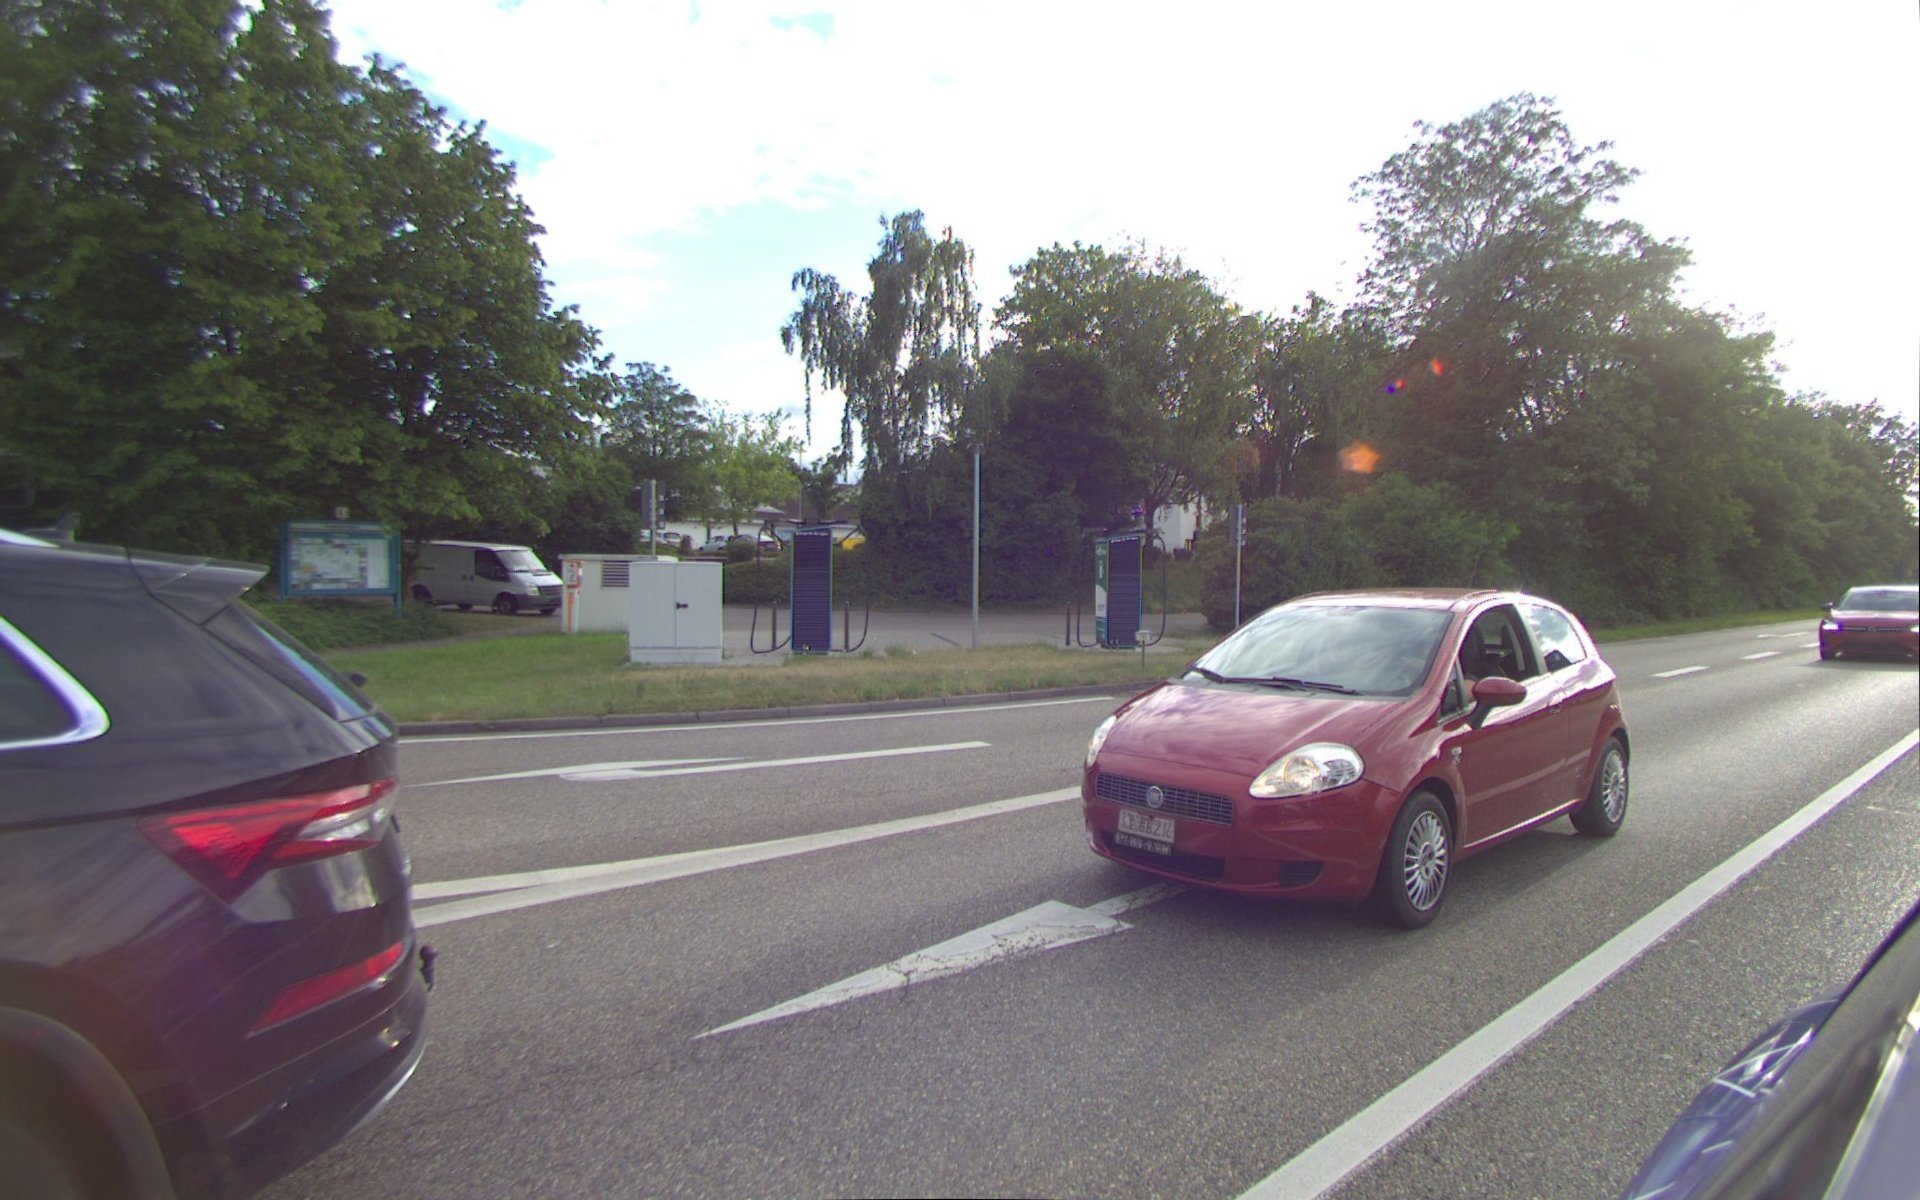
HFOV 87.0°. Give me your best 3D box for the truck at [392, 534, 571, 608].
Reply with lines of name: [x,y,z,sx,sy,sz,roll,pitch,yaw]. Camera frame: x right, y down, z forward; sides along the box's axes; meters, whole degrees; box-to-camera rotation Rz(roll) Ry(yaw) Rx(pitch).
truck: [-13.752,-0.822,29.150,4.602,2.022,1.816,0,1,15]

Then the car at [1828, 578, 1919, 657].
car: [18.654,0.286,20.061,3.931,1.433,1.699,-1,1,-41]

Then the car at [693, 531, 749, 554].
car: [-16.299,-3.870,68.871,1.968,1.382,3.989,-2,1,-44]

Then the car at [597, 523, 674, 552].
car: [-19.049,-3.666,59.541,3.923,1.582,2.001,-1,1,-1]

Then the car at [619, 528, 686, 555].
car: [-19.829,-3.749,65.337,3.966,1.582,1.979,-1,1,30]

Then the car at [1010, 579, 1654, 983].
car: [2.255,0.613,5.563,3.925,1.450,1.665,-1,1,-41]

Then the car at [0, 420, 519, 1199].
car: [-3.159,0.577,1.317,4.403,1.670,1.847,-1,1,-41]
